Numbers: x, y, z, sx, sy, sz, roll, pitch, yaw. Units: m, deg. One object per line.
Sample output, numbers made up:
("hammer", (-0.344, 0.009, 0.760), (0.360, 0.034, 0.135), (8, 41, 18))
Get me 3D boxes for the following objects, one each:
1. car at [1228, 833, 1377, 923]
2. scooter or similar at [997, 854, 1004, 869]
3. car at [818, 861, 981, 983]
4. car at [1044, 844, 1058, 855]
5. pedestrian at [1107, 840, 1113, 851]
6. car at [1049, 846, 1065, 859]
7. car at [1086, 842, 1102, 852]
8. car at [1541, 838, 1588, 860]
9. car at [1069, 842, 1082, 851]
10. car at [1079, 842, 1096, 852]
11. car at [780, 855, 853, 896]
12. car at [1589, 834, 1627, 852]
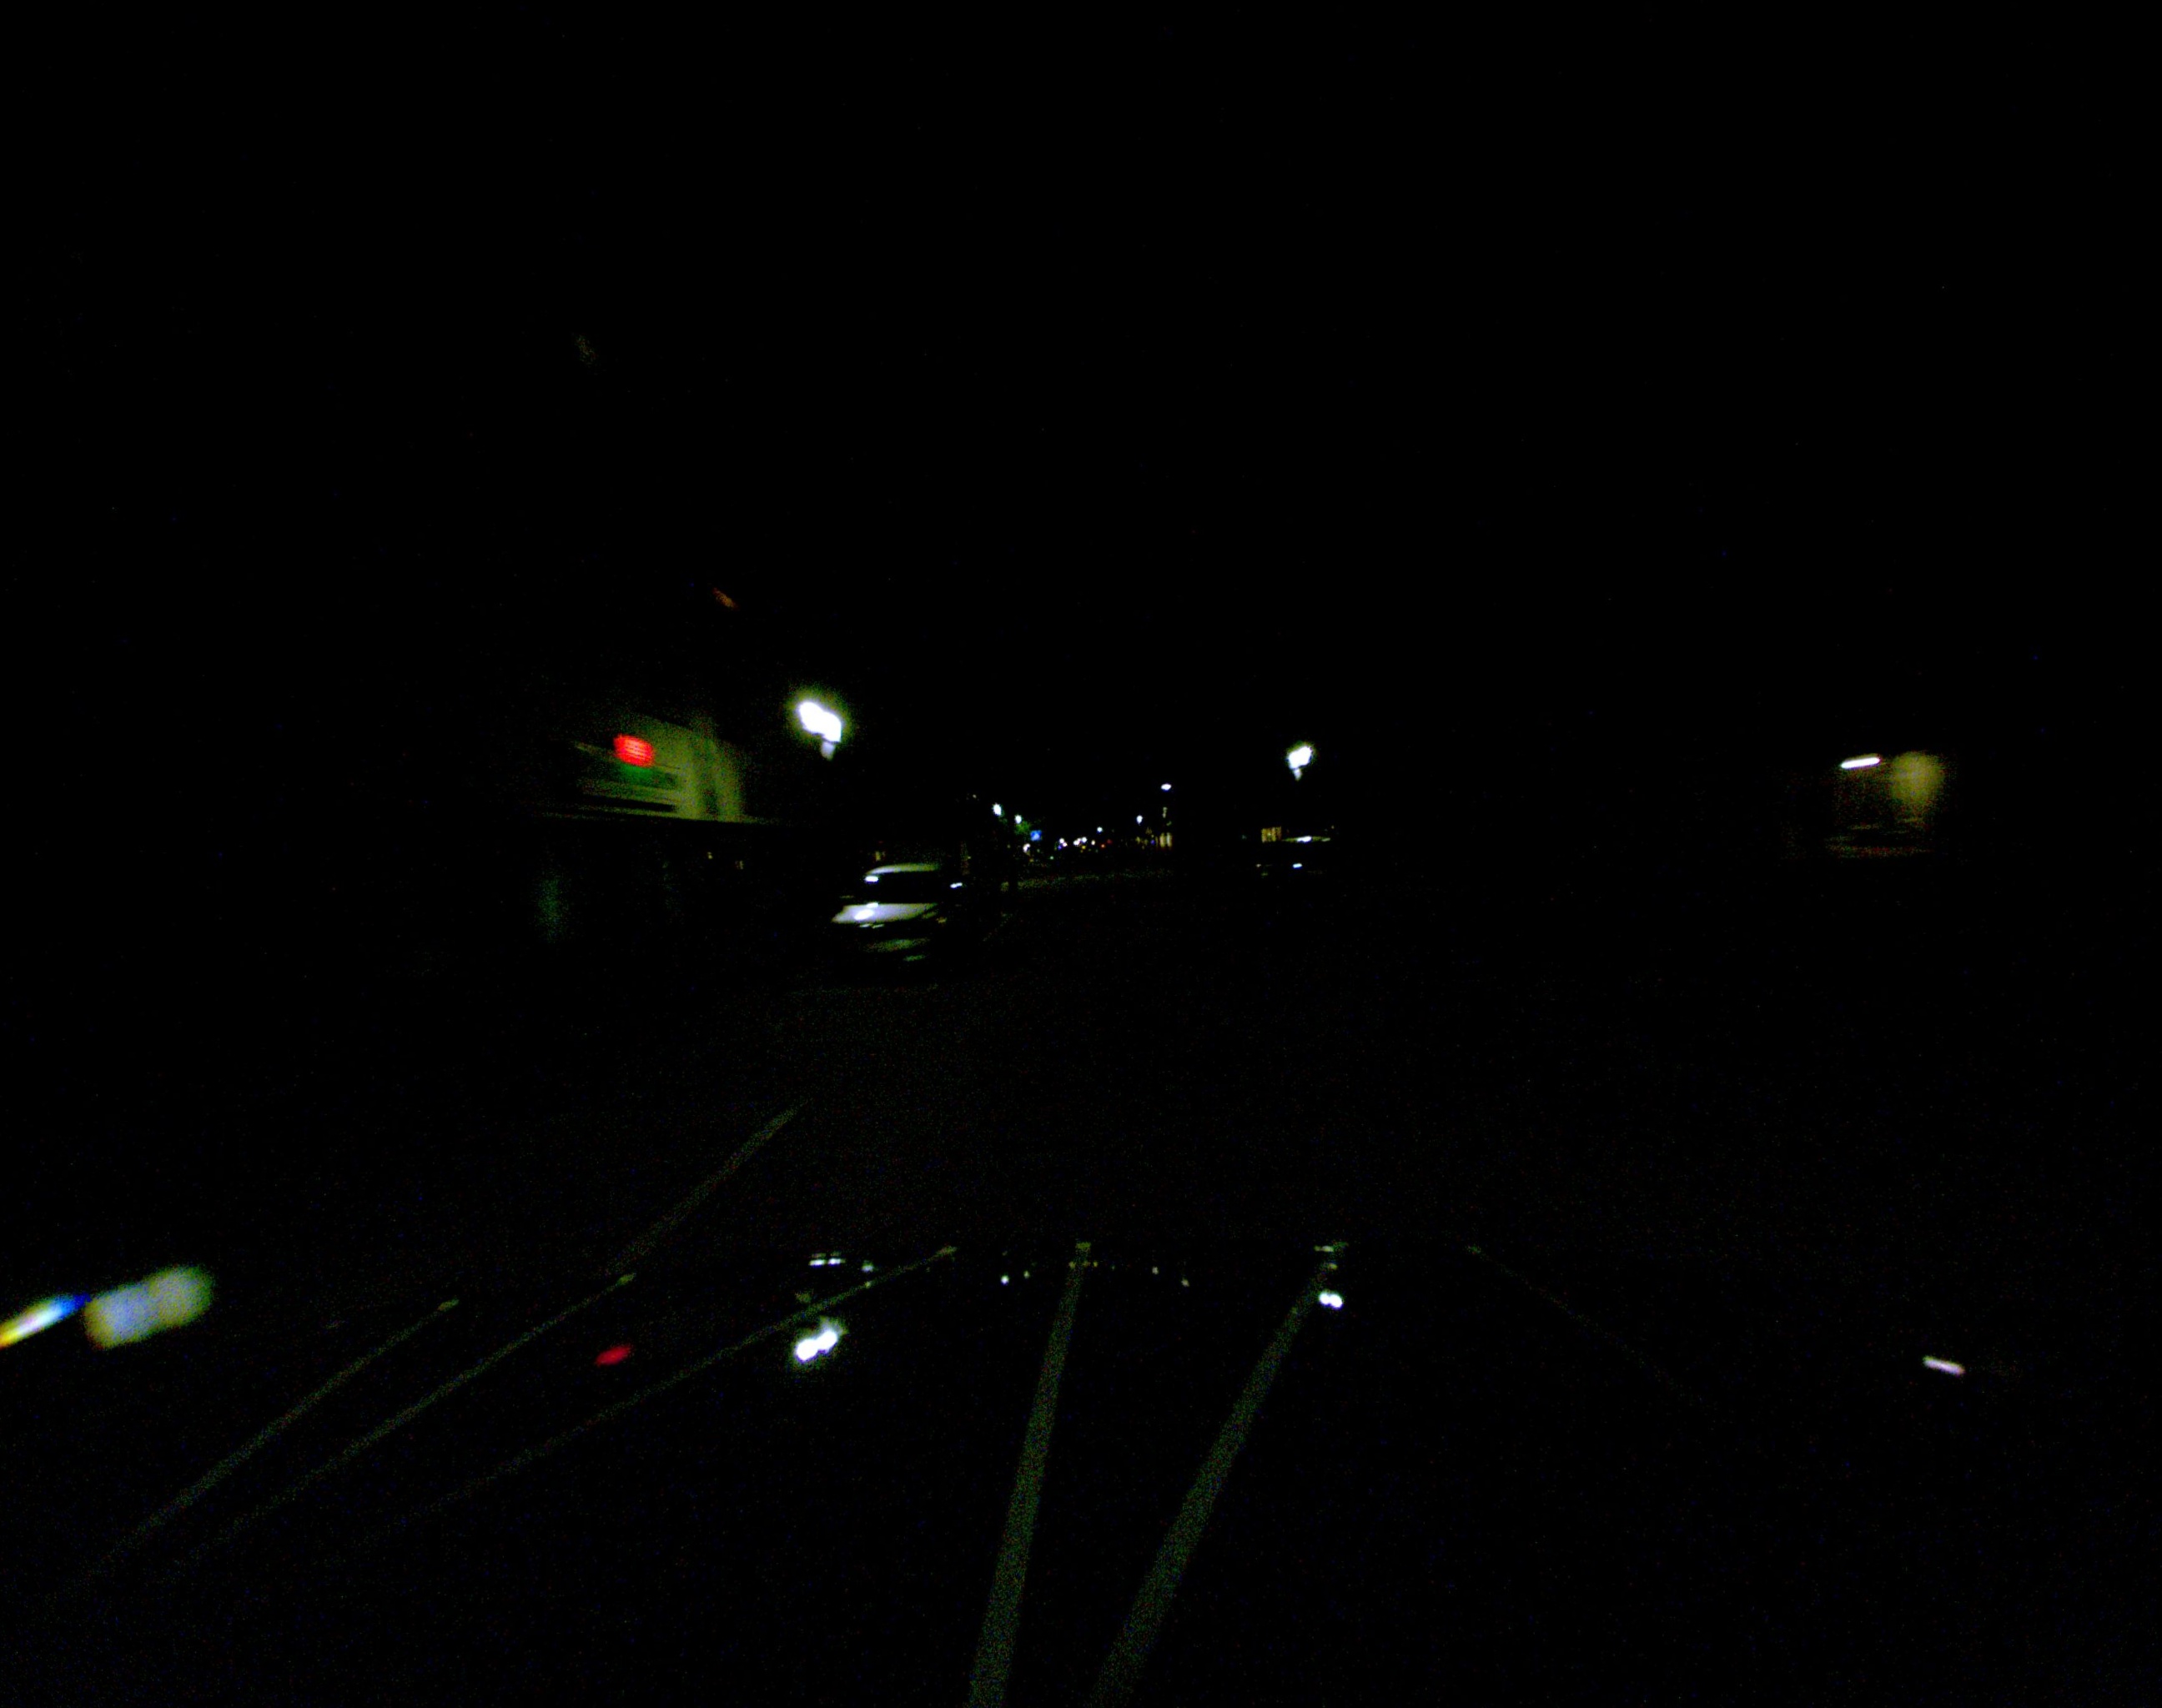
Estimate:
("car", (4.954, 0.449, 17.823), (2.023, 1.681, 5.002), (-4, 1, 1))
("scooter or similar", (-6.983, 0.626, 65.681), (0.374, 1.270, 1.305), (-2, 2, 1))
("car", (-2.639, 0.918, 11.899), (1.679, 1.451, 3.674), (-3, 1, -1))
("car", (-4.939, -0.757, 124.574), (1.748, 1.479, 4.631), (-3, 2, -8))
("pedestrian", (4.956, -1.507, 129.164), (0.793, 1.807, 1.024), (-4, 2, 13))
("car", (-3.056, -0.218, 94.898), (1.739, 1.432, 4.494), (-3, 1, -5))
("car", (2.160, -1.221, 128.668), (1.765, 1.628, 4.809), (-3, 1, -11))
("car", (31.202, -0.307, 49.008), (1.816, 1.368, 4.008), (0, 1, 44))
("car", (-1.014, -1.464, 145.522), (1.776, 1.565, 4.478), (-4, 2, -9))
("car", (1.148, -1.249, 134.296), (1.912, 1.533, 4.776), (-4, 1, -13))
("car", (-11.355, 0.886, 32.883), (1.809, 1.452, 4.054), (1, 2, -1))
("car", (41.132, -0.855, 59.294), (1.816, 1.368, 4.008), (0, 1, 44))
